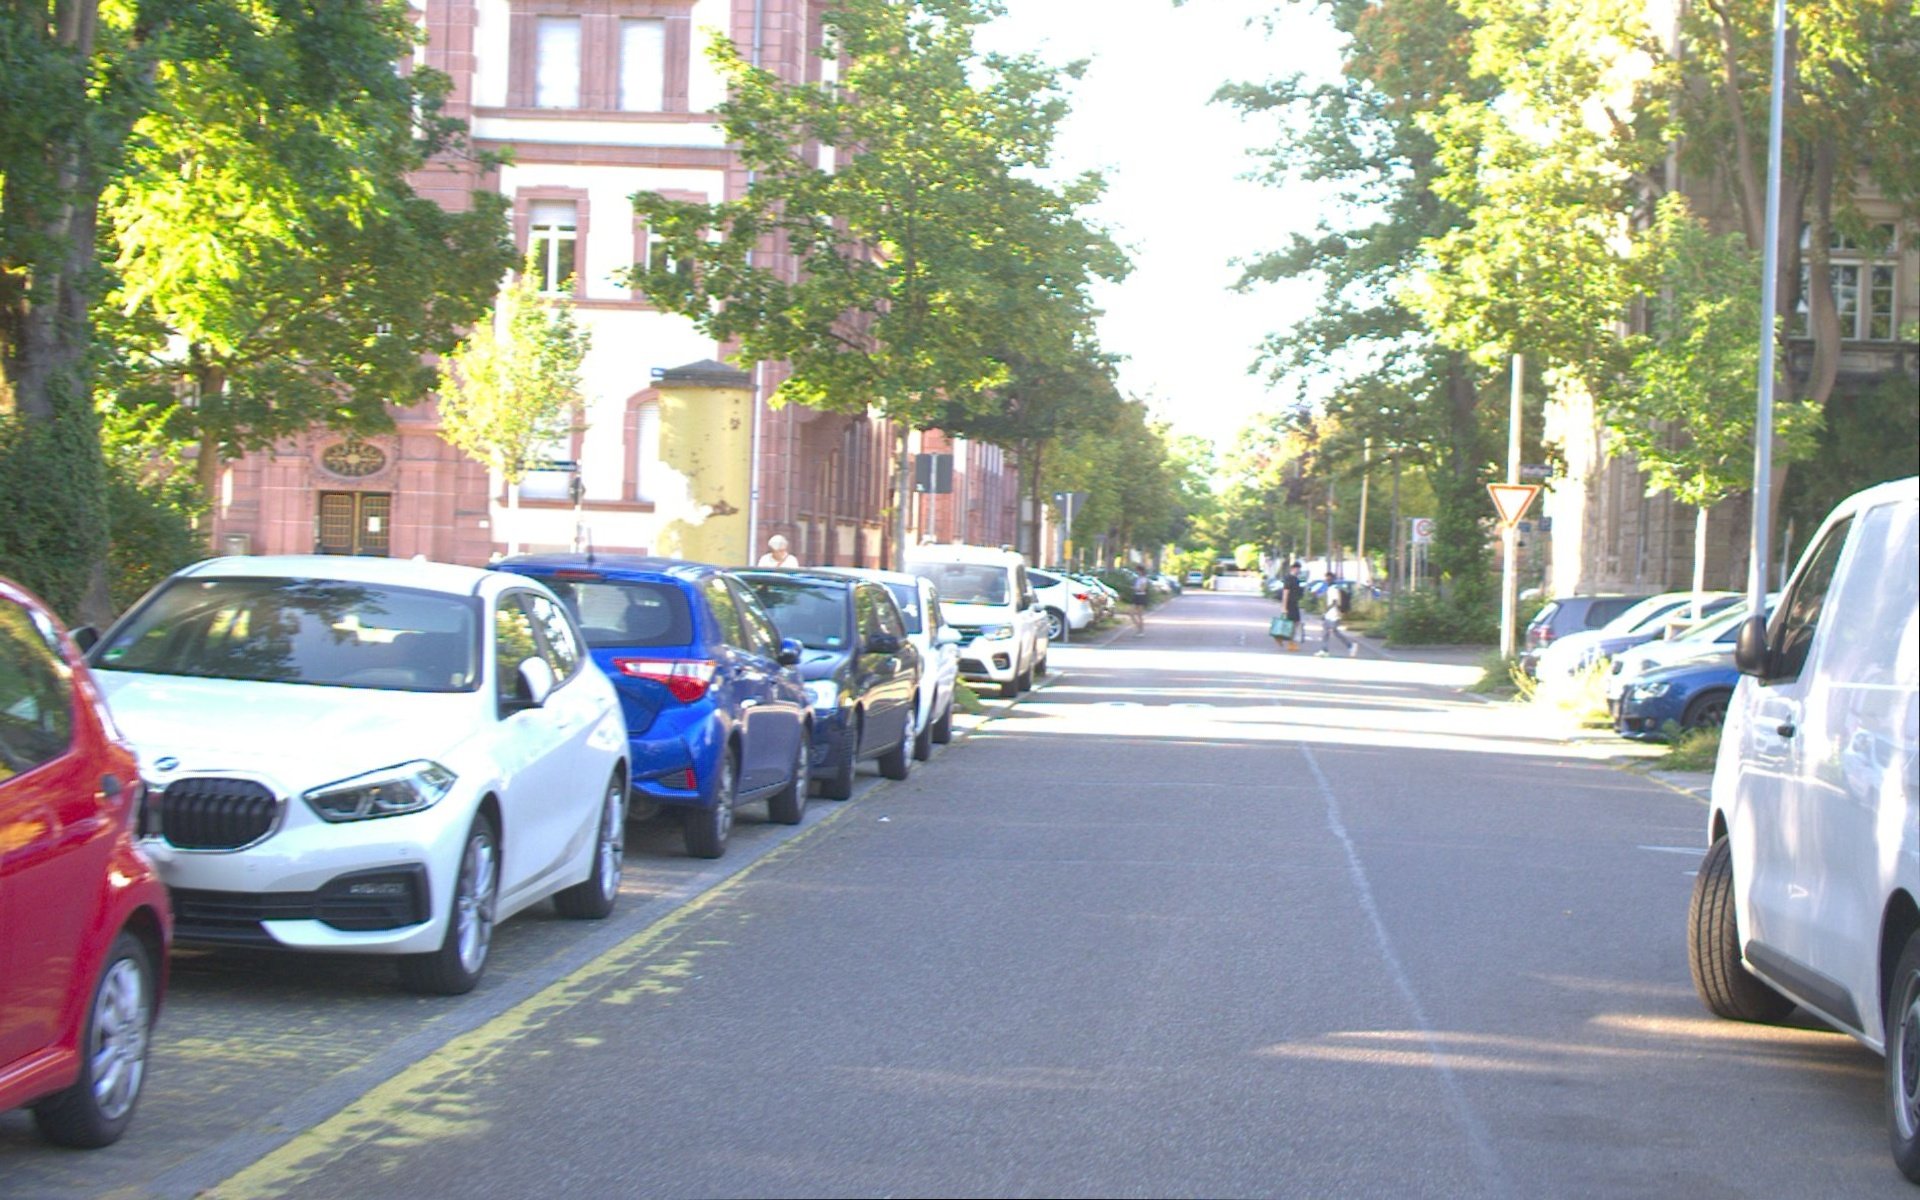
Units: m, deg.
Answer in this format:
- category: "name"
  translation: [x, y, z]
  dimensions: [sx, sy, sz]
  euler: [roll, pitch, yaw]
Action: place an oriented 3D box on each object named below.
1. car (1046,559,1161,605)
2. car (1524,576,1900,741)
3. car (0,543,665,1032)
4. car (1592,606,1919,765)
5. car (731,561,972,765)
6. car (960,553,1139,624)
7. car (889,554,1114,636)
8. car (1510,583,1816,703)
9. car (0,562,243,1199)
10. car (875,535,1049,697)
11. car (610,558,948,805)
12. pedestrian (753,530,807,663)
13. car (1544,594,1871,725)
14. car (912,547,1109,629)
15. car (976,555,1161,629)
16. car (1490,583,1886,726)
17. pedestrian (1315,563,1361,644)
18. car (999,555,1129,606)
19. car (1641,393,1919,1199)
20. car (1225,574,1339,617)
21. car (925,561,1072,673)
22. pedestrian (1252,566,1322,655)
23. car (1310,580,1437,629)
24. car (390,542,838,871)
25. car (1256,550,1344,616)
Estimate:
- category: "car"
  translation: [5.711, -0.719, 136.558]
  dimensions: [4.483, 1.602, 1.842]
  euler: [3, 1, 3]
- category: "car"
  translation: [7.985, 0.606, 36.699]
  dimensions: [3.493, 1.579, 1.762]
  euler: [2, 1, -5]
- category: "car"
  translation: [-2.329, 0.559, 12.683]
  dimensions: [1.690, 1.401, 3.974]
  euler: [4, 1, 5]
- category: "car"
  translation: [8.235, 0.778, 31.686]
  dimensions: [4.590, 1.410, 1.922]
  euler: [0, -1, 6]
- category: "car"
  translation: [-0.843, 0.470, 28.720]
  dimensions: [1.592, 1.521, 3.865]
  euler: [2, 1, 4]
- category: "car"
  translation: [2.313, -0.312, 88.242]
  dimensions: [4.483, 1.602, 1.842]
  euler: [3, 1, 3]
- category: "car"
  translation: [0.945, -0.119, 75.796]
  dimensions: [4.843, 1.588, 1.842]
  euler: [2, 1, 3]
- category: "car"
  translation: [9.709, 0.613, 47.718]
  dimensions: [3.955, 1.511, 1.873]
  euler: [2, -2, 6]
- category: "car"
  translation: [-2.736, 0.622, 7.153]
  dimensions: [1.388, 1.418, 3.426]
  euler: [4, 1, 5]
- category: "car"
  translation: [0.079, 0.167, 42.725]
  dimensions: [1.781, 1.834, 4.552]
  euler: [2, 1, 4]
- category: "car"
  translation: [-1.155, 0.495, 23.680]
  dimensions: [1.552, 1.489, 3.941]
  euler: [2, 1, 8]
- category: "pedestrian"
  translation: [-2.473, -0.053, 47.187]
  dimensions: [0.599, 1.778, 0.946]
  euler: [2, 1, 1]
- category: "car"
  translation: [9.760, 0.765, 45.096]
  dimensions: [3.955, 1.511, 1.674]
  euler: [2, 1, 5]
- category: "car"
  translation: [1.197, -0.297, 80.237]
  dimensions: [4.483, 1.711, 1.842]
  euler: [2, 1, 3]
- category: "car"
  translation: [2.702, -0.205, 85.430]
  dimensions: [4.483, 1.602, 1.842]
  euler: [3, 1, 3]
- category: "car"
  translation: [8.969, 0.656, 42.628]
  dimensions: [4.491, 1.544, 1.891]
  euler: [2, 1, 2]
- category: "pedestrian"
  translation: [7.630, 0.076, 69.448]
  dimensions: [0.785, 1.601, 0.720]
  euler: [2, -1, -1]
- category: "car"
  translation: [3.701, -0.707, 121.952]
  dimensions: [4.483, 1.602, 1.842]
  euler: [3, 1, 3]
- category: "car"
  translation: [3.500, 0.492, 10.626]
  dimensions: [1.953, 2.007, 5.153]
  euler: [2, 1, 3]
- category: "car"
  translation: [13.447, -0.199, 143.641]
  dimensions: [4.583, 1.602, 1.842]
  euler: [3, 1, 3]
- category: "car"
  translation: [0.619, 0.222, 50.890]
  dimensions: [1.781, 1.500, 4.552]
  euler: [3, 1, 5]
- category: "pedestrian"
  translation: [7.097, 0.227, 74.583]
  dimensions: [1.060, 1.851, 1.002]
  euler: [2, 1, -27]
- category: "car"
  translation: [15.312, 0.154, 127.454]
  dimensions: [4.483, 1.602, 1.842]
  euler: [3, 1, 3]
- category: "car"
  translation: [-1.768, 0.503, 18.710]
  dimensions: [1.639, 1.490, 3.704]
  euler: [4, 1, 5]
- category: "car"
  translation: [19.805, -1.009, 200.315]
  dimensions: [4.887, 3.605, 1.842]
  euler: [3, 0, 4]
